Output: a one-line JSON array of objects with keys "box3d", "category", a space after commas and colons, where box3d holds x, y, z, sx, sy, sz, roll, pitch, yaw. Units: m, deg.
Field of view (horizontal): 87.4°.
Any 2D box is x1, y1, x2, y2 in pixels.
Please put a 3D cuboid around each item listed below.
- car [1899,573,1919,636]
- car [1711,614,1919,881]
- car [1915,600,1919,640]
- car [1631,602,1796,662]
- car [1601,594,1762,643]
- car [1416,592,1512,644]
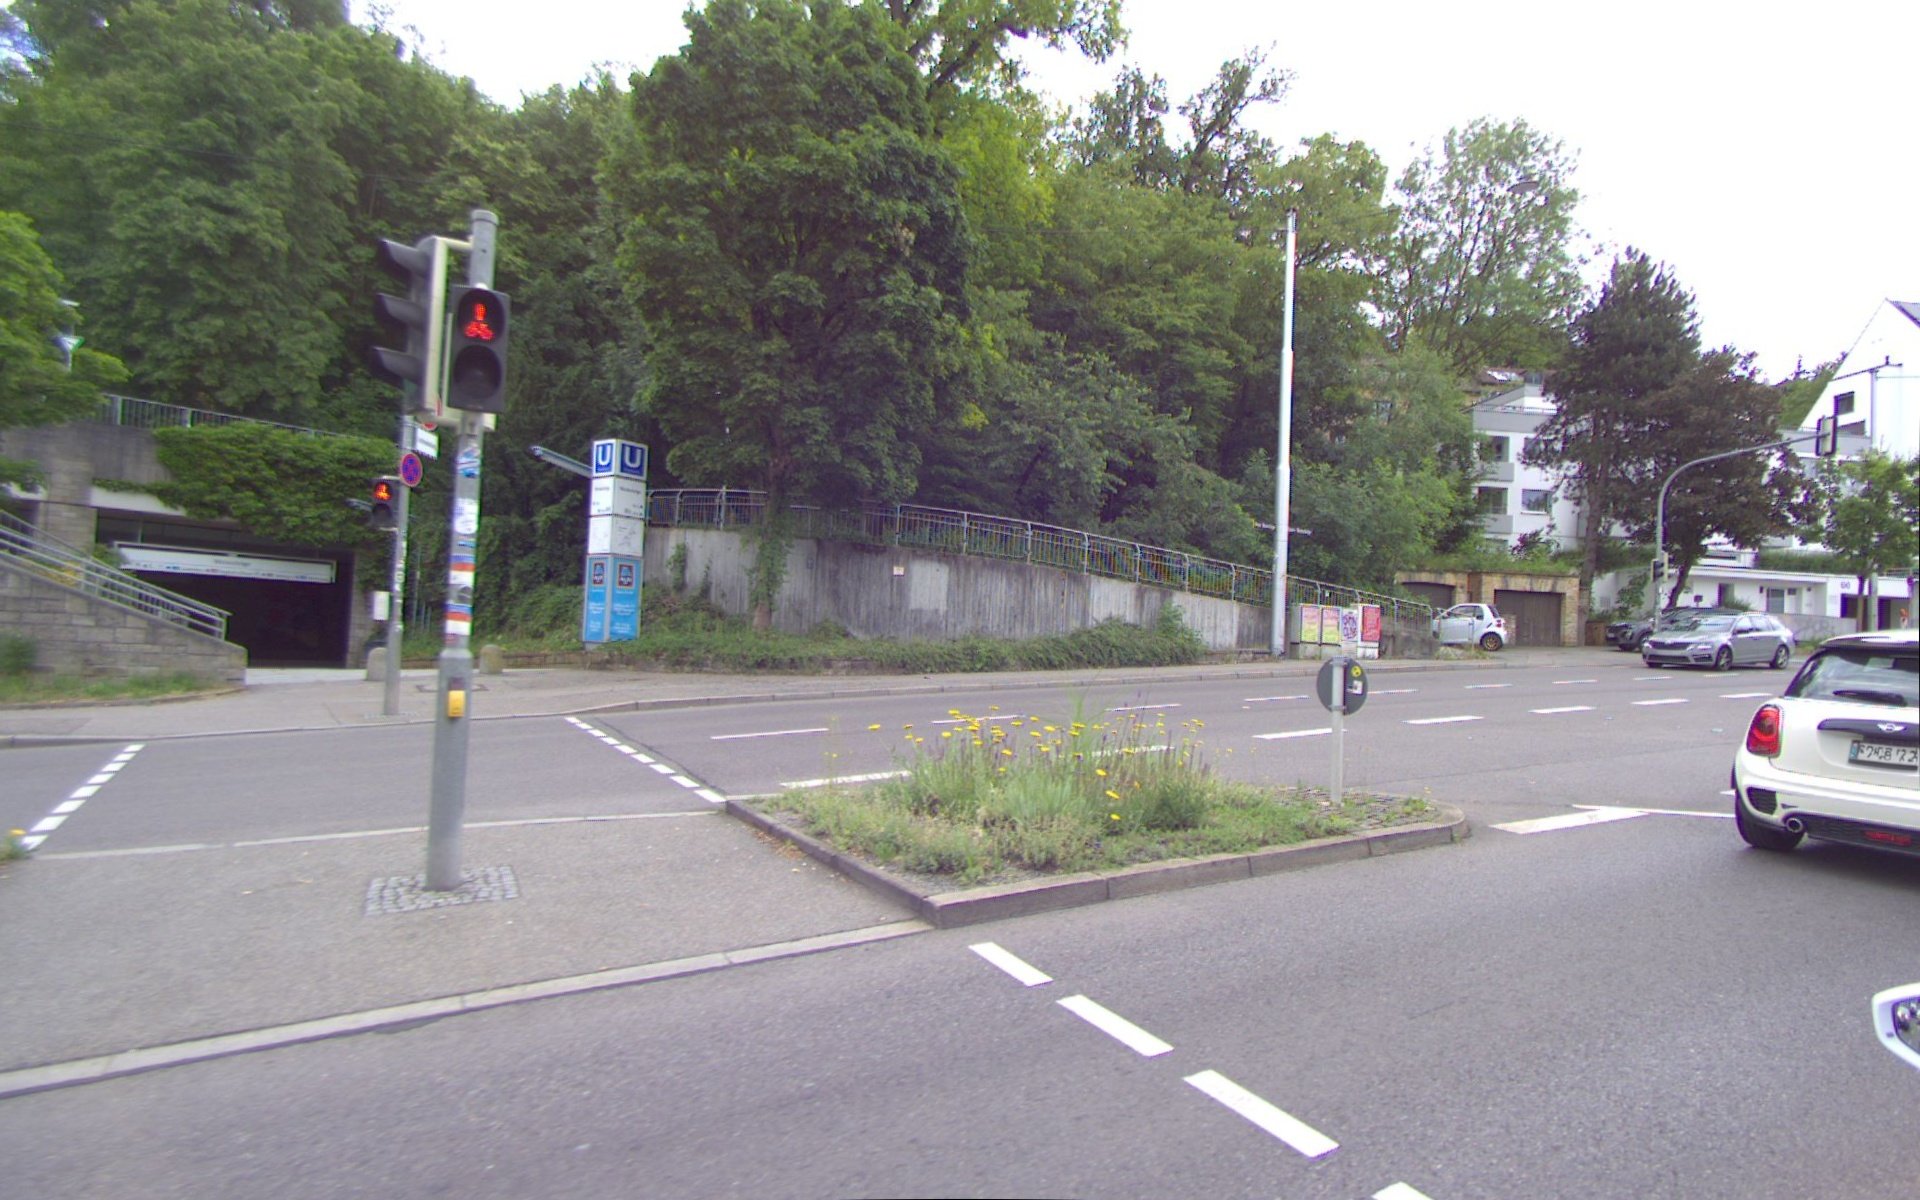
[{"box3d": [43.238, 0.174, 42.232, 7.303, 2.602, 2.230, 0, 0, -18], "category": "car"}, {"box3d": [6.527, 0.788, 6.300, 3.522, 1.412, 1.621, 0, -1, -29], "category": "car"}, {"box3d": [38.002, 0.758, 37.735, 3.868, 1.485, 1.619, 0, 0, -22], "category": "car"}, {"box3d": [19.736, 0.788, 26.279, 4.508, 1.468, 1.645, 0, 1, -27], "category": "car"}, {"box3d": [23.717, 0.609, 33.179, 4.052, 1.560, 1.598, 0, 0, 21], "category": "car"}, {"box3d": [16.978, 0.583, 33.854, 2.665, 1.540, 1.559, 3, 2, 34], "category": "car"}]
